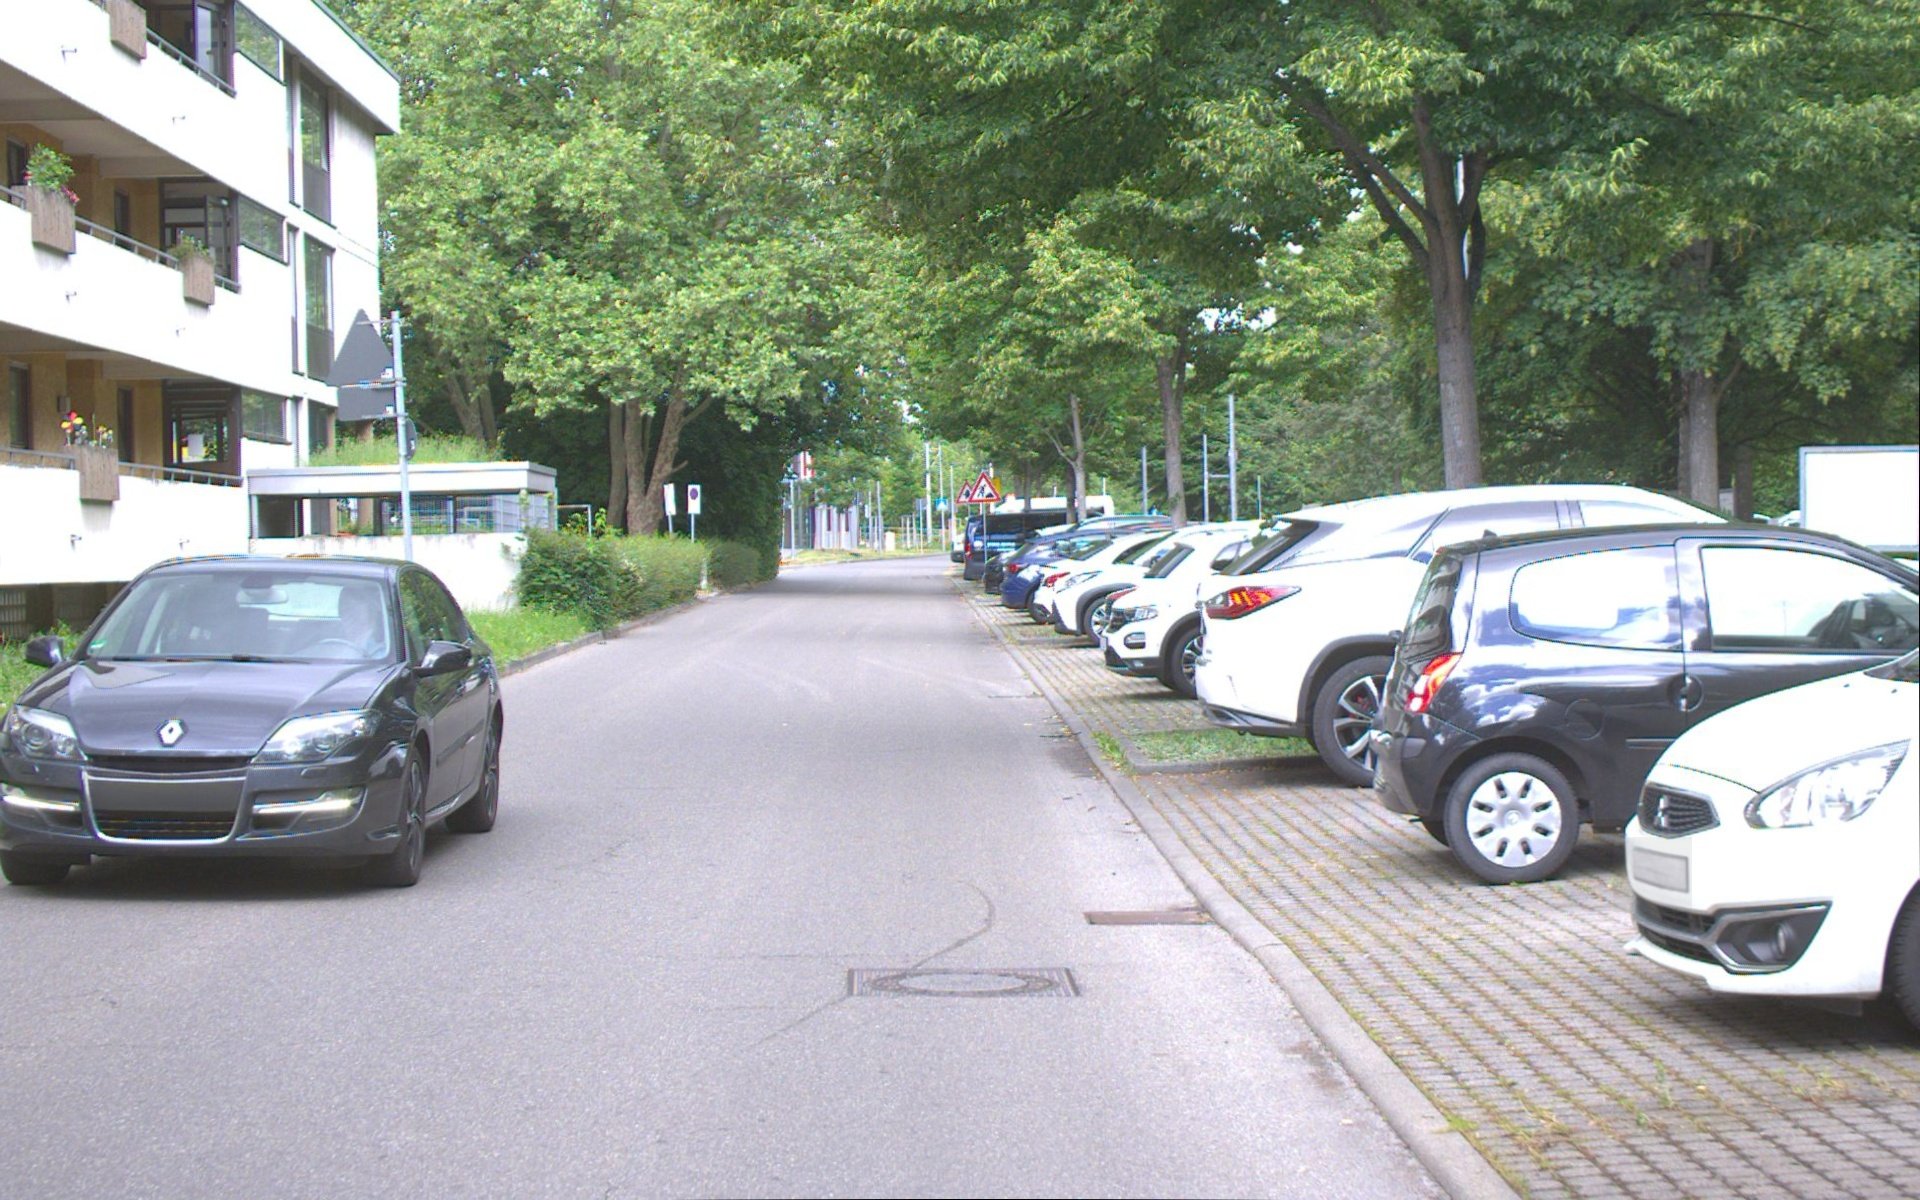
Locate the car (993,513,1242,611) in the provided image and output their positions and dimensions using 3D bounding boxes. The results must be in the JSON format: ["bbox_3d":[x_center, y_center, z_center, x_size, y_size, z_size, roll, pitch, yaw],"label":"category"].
[{"bbox_3d":[2.717,-0.666,59.865,4.072,1.512,1.851,-3,1,-4],"label":"car"}]

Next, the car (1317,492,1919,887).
[{"bbox_3d":[3.741,0.329,15.018,4.158,1.565,1.851,-1,1,1],"label":"car"}]

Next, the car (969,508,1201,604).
[{"bbox_3d":[2.438,-0.882,67.875,4.415,1.670,2.082,-3,2,-1],"label":"car"}]

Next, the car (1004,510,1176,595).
[{"bbox_3d":[2.648,-0.992,70.481,3.379,1.569,1.797,-3,2,0],"label":"car"}]

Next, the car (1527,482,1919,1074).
[{"bbox_3d":[3.970,0.413,10.231,4.158,1.565,1.786,-2,1,-5],"label":"car"}]

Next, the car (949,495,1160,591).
[{"bbox_3d":[2.275,-1.388,83.412,4.954,2.007,2.166,-3,1,1],"label":"car"}]

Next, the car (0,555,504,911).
[{"bbox_3d":[-3.315,0.504,16.007,1.913,1.407,4.424,0,1,-2],"label":"car"}]

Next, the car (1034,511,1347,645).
[{"bbox_3d":[2.903,-0.285,43.820,3.840,1.510,1.881,-2,1,2],"label":"car"}]

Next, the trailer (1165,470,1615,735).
[{"bbox_3d":[3.160,0.006,25.630,3.029,1.784,1.563,-3,1,-3],"label":"trailer"}]

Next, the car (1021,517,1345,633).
[{"bbox_3d":[3.176,-0.367,49.652,4.485,1.449,1.846,-2,1,0],"label":"car"}]

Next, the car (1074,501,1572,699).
[{"bbox_3d":[3.189,-0.018,30.738,4.112,1.542,1.861,-3,1,-3],"label":"car"}]

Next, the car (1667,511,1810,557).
[{"bbox_3d":[25.856,-2.190,114.295,4.429,1.423,1.703,-1,1,6],"label":"car"}]

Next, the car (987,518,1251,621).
[{"bbox_3d":[2.495,-0.494,54.737,4.072,1.451,1.851,-2,1,0],"label":"car"}]

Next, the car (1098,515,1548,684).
[{"bbox_3d":[3.477,-0.017,33.342,4.007,1.417,1.792,-3,1,-6],"label":"car"}]

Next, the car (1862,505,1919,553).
[{"bbox_3d":[32.113,-2.365,113.544,4.284,1.521,1.703,-1,1,6],"label":"car"}]

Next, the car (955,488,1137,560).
[{"bbox_3d":[3.025,-2.699,121.962,6.255,2.467,2.139,0,1,-3],"label":"car"}]

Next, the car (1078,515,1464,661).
[{"bbox_3d":[3.428,-0.150,38.469,4.054,1.417,1.817,-3,1,-2],"label":"car"}]

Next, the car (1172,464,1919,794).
[{"bbox_3d":[3.715,0.138,20.338,4.818,1.687,1.974,-2,1,3],"label":"car"}]
